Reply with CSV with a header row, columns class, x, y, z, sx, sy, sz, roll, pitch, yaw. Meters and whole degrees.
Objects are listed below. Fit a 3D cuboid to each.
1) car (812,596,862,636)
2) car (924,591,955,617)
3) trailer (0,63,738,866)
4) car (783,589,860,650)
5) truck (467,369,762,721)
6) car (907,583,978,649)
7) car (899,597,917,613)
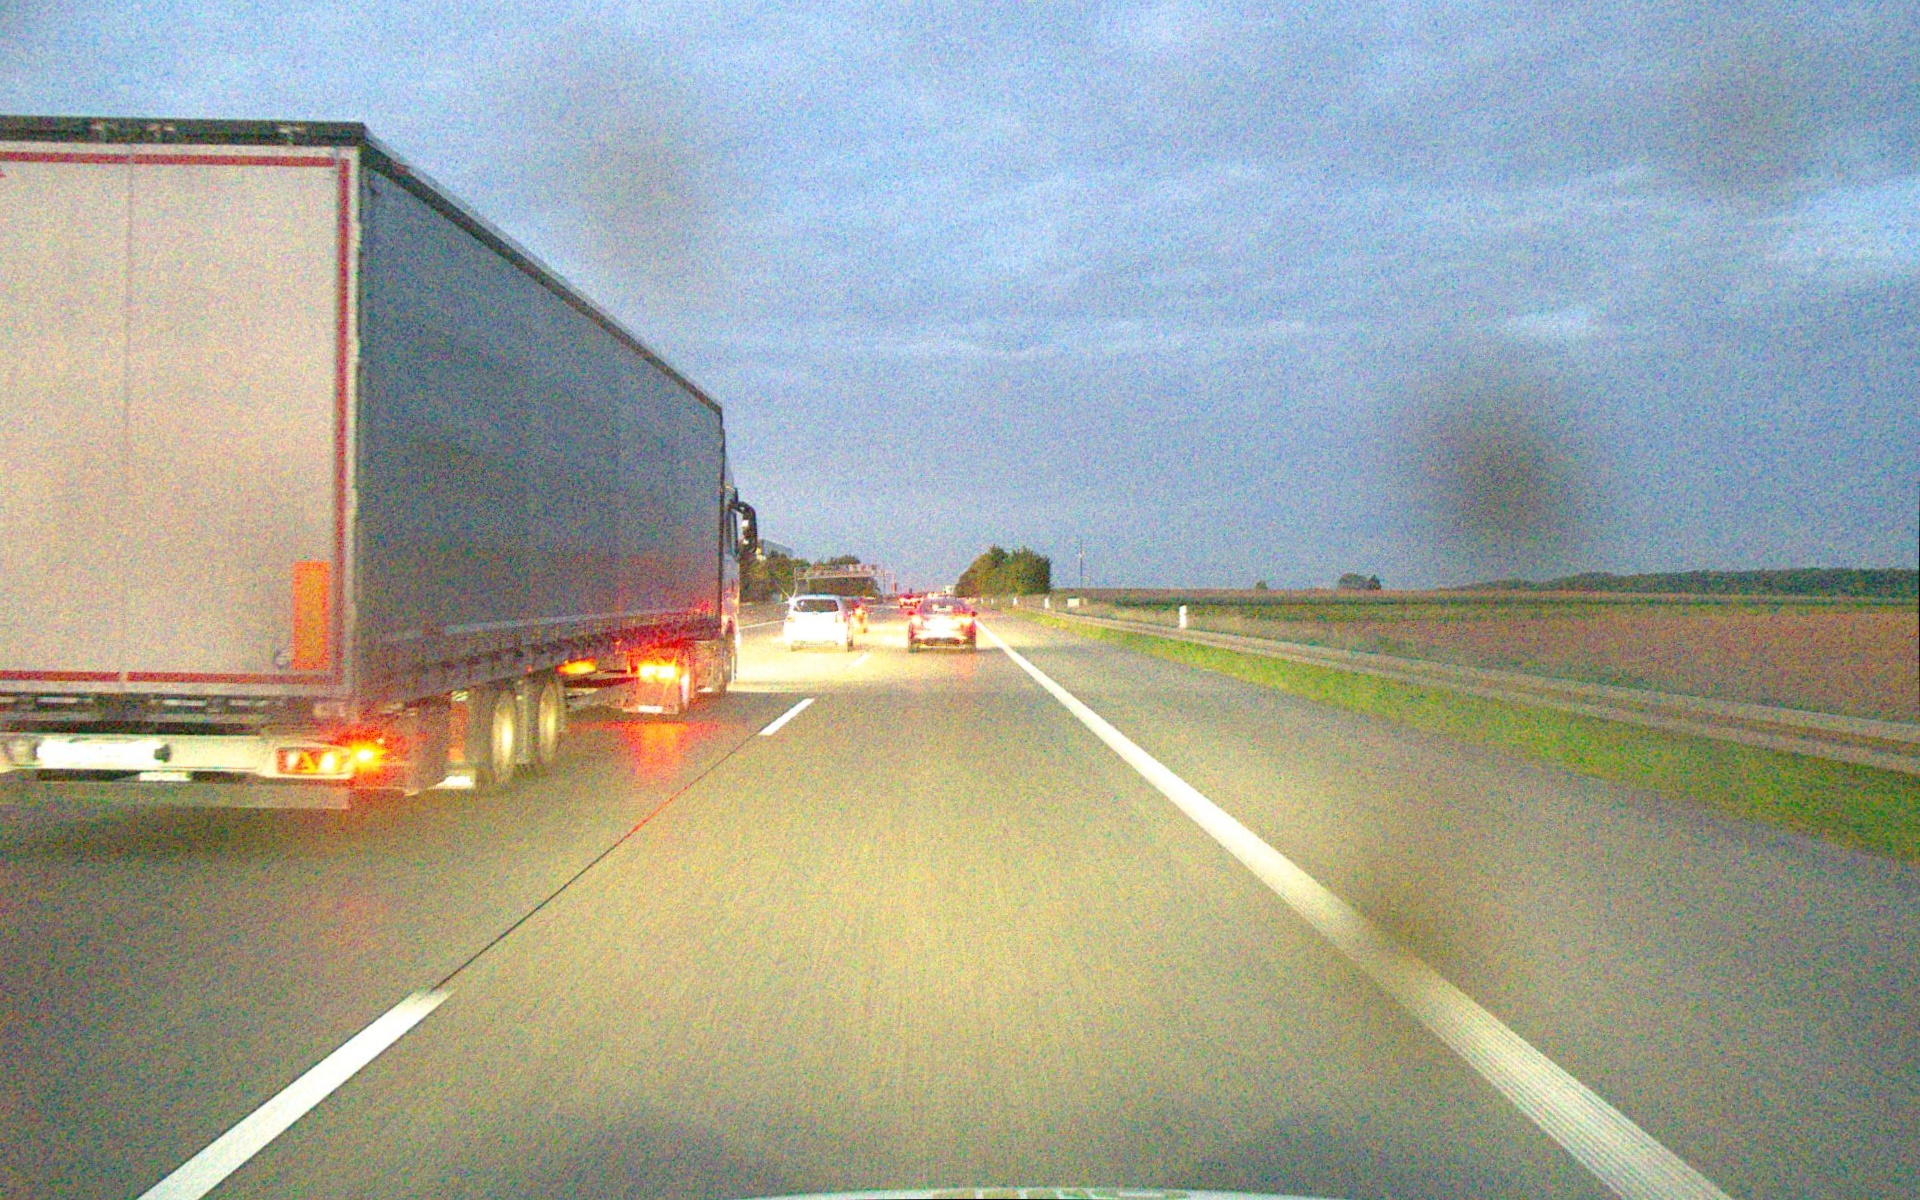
class,x,y,z,sx,sy,sz,roll,pitch,yaw
car,-4.851,0.613,65.674,1.688,1.497,4.725,1,0,-1
car,-1.303,0.265,104.230,1.842,1.579,3.999,1,0,-1
trailer,-4.498,-0.663,15.817,2.737,4.157,14.525,0,0,0
car,-3.742,0.531,45.276,1.708,1.551,4.414,1,0,0
truck,-4.461,-0.633,22.645,2.720,4.164,6.102,0,0,0
car,-0.479,0.431,45.284,1.842,1.672,3.999,1,0,-1
car,-5.517,0.543,174.639,1.842,1.579,3.999,1,0,-1
